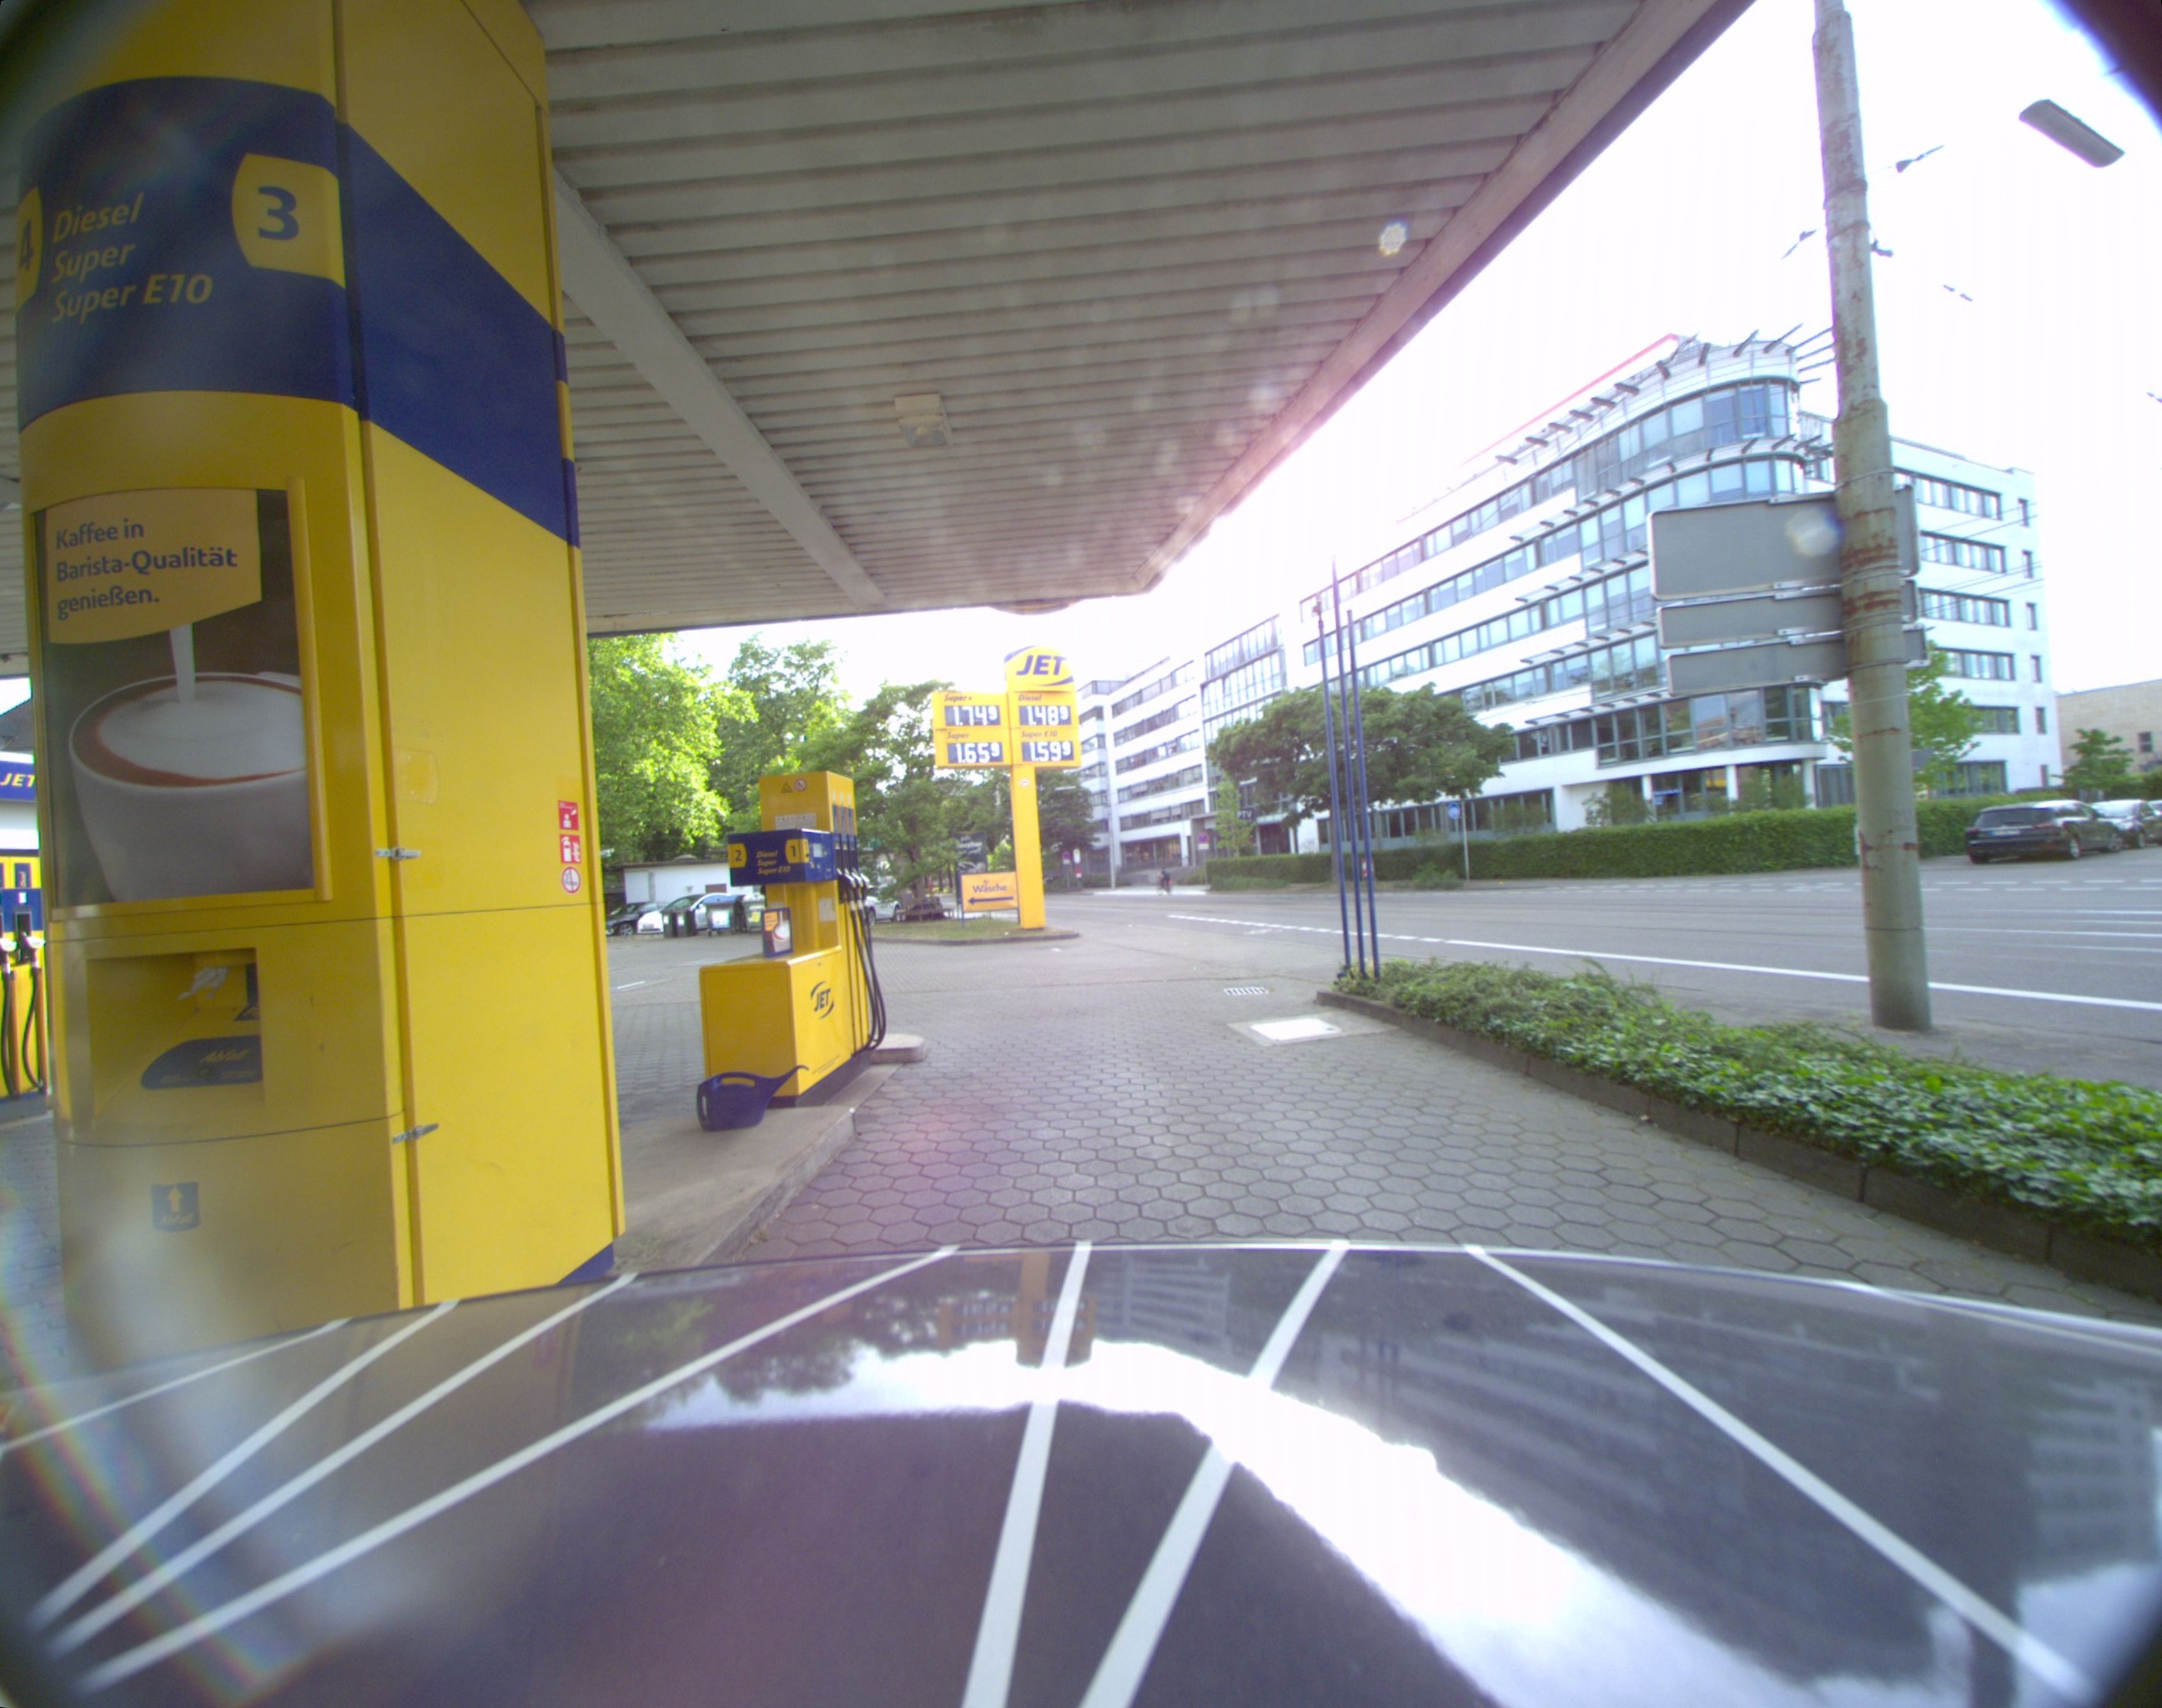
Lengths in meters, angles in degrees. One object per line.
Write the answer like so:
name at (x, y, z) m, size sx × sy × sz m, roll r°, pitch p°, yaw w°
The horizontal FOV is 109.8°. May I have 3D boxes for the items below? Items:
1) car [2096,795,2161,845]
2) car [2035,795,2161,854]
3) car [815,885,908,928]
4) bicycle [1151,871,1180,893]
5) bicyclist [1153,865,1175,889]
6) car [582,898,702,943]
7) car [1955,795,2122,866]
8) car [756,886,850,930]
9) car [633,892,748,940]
car at (37.107, -1.254, 26.020) m, size 4.201 × 1.568 × 1.820 m, roll -4°, pitch -1°, yaw -24°
car at (32.578, -0.960, 24.072) m, size 4.201 × 1.568 × 1.820 m, roll -4°, pitch -1°, yaw -24°
car at (-8.655, 2.039, 30.378) m, size 1.823 × 1.449 × 4.200 m, roll -4°, pitch -2°, yaw 10°
bicycle at (5.057, 1.679, 45.645) m, size 0.792 × 1.232 × 1.879 m, roll -3°, pitch 1°, yaw -26°
bicyclist at (4.987, 1.373, 45.727) m, size 0.792 × 1.443 × 1.174 m, roll -3°, pitch 1°, yaw -26°
car at (-17.532, 2.622, 30.608) m, size 1.823 × 1.426 × 4.200 m, roll -4°, pitch -2°, yaw 10°
car at (27.421, -0.671, 21.761) m, size 4.397 × 1.678 × 1.820 m, roll -4°, pitch -1°, yaw -24°
car at (-11.745, 2.256, 32.465) m, size 1.823 × 1.575 × 4.200 m, roll -4°, pitch -2°, yaw 10°
car at (-15.388, 2.404, 30.253) m, size 1.823 × 1.575 × 4.200 m, roll -4°, pitch -2°, yaw 10°
